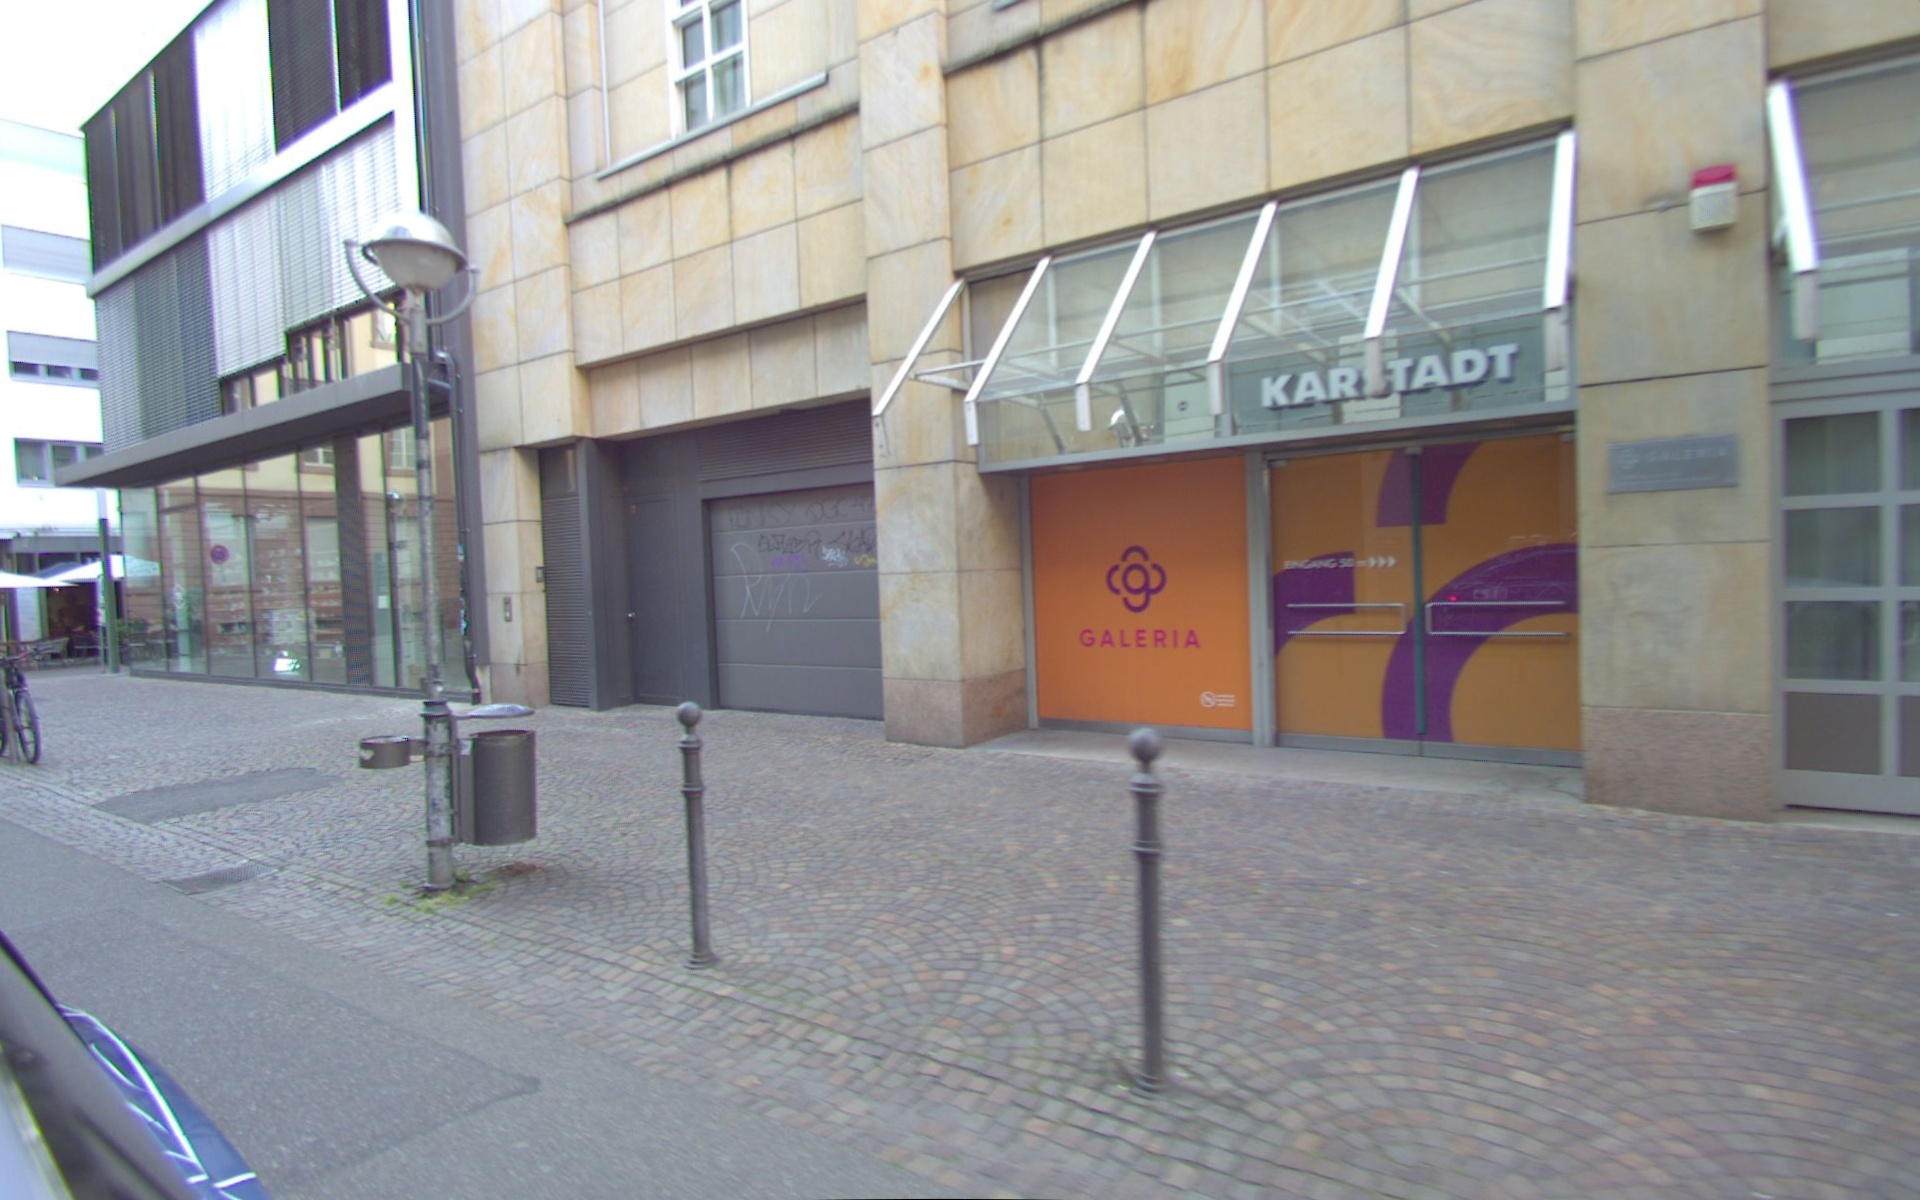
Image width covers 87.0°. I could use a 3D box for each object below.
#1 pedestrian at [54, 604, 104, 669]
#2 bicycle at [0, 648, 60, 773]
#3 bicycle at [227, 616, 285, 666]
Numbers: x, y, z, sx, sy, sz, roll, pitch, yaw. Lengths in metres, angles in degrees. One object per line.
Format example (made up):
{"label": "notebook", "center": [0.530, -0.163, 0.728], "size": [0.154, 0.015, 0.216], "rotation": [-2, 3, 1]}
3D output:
{"label": "pedestrian", "center": [-23.409, 0.960, 26.884], "size": [0.789, 1.661, 0.718], "rotation": [-2, 1, 30]}
{"label": "bicycle", "center": [-9.745, 1.070, 10.214], "size": [1.924, 1.141, 0.407], "rotation": [-1, 2, 32]}
{"label": "bicycle", "center": [-17.404, 1.017, 25.010], "size": [2.011, 1.129, 0.461], "rotation": [-4, 0, 35]}
